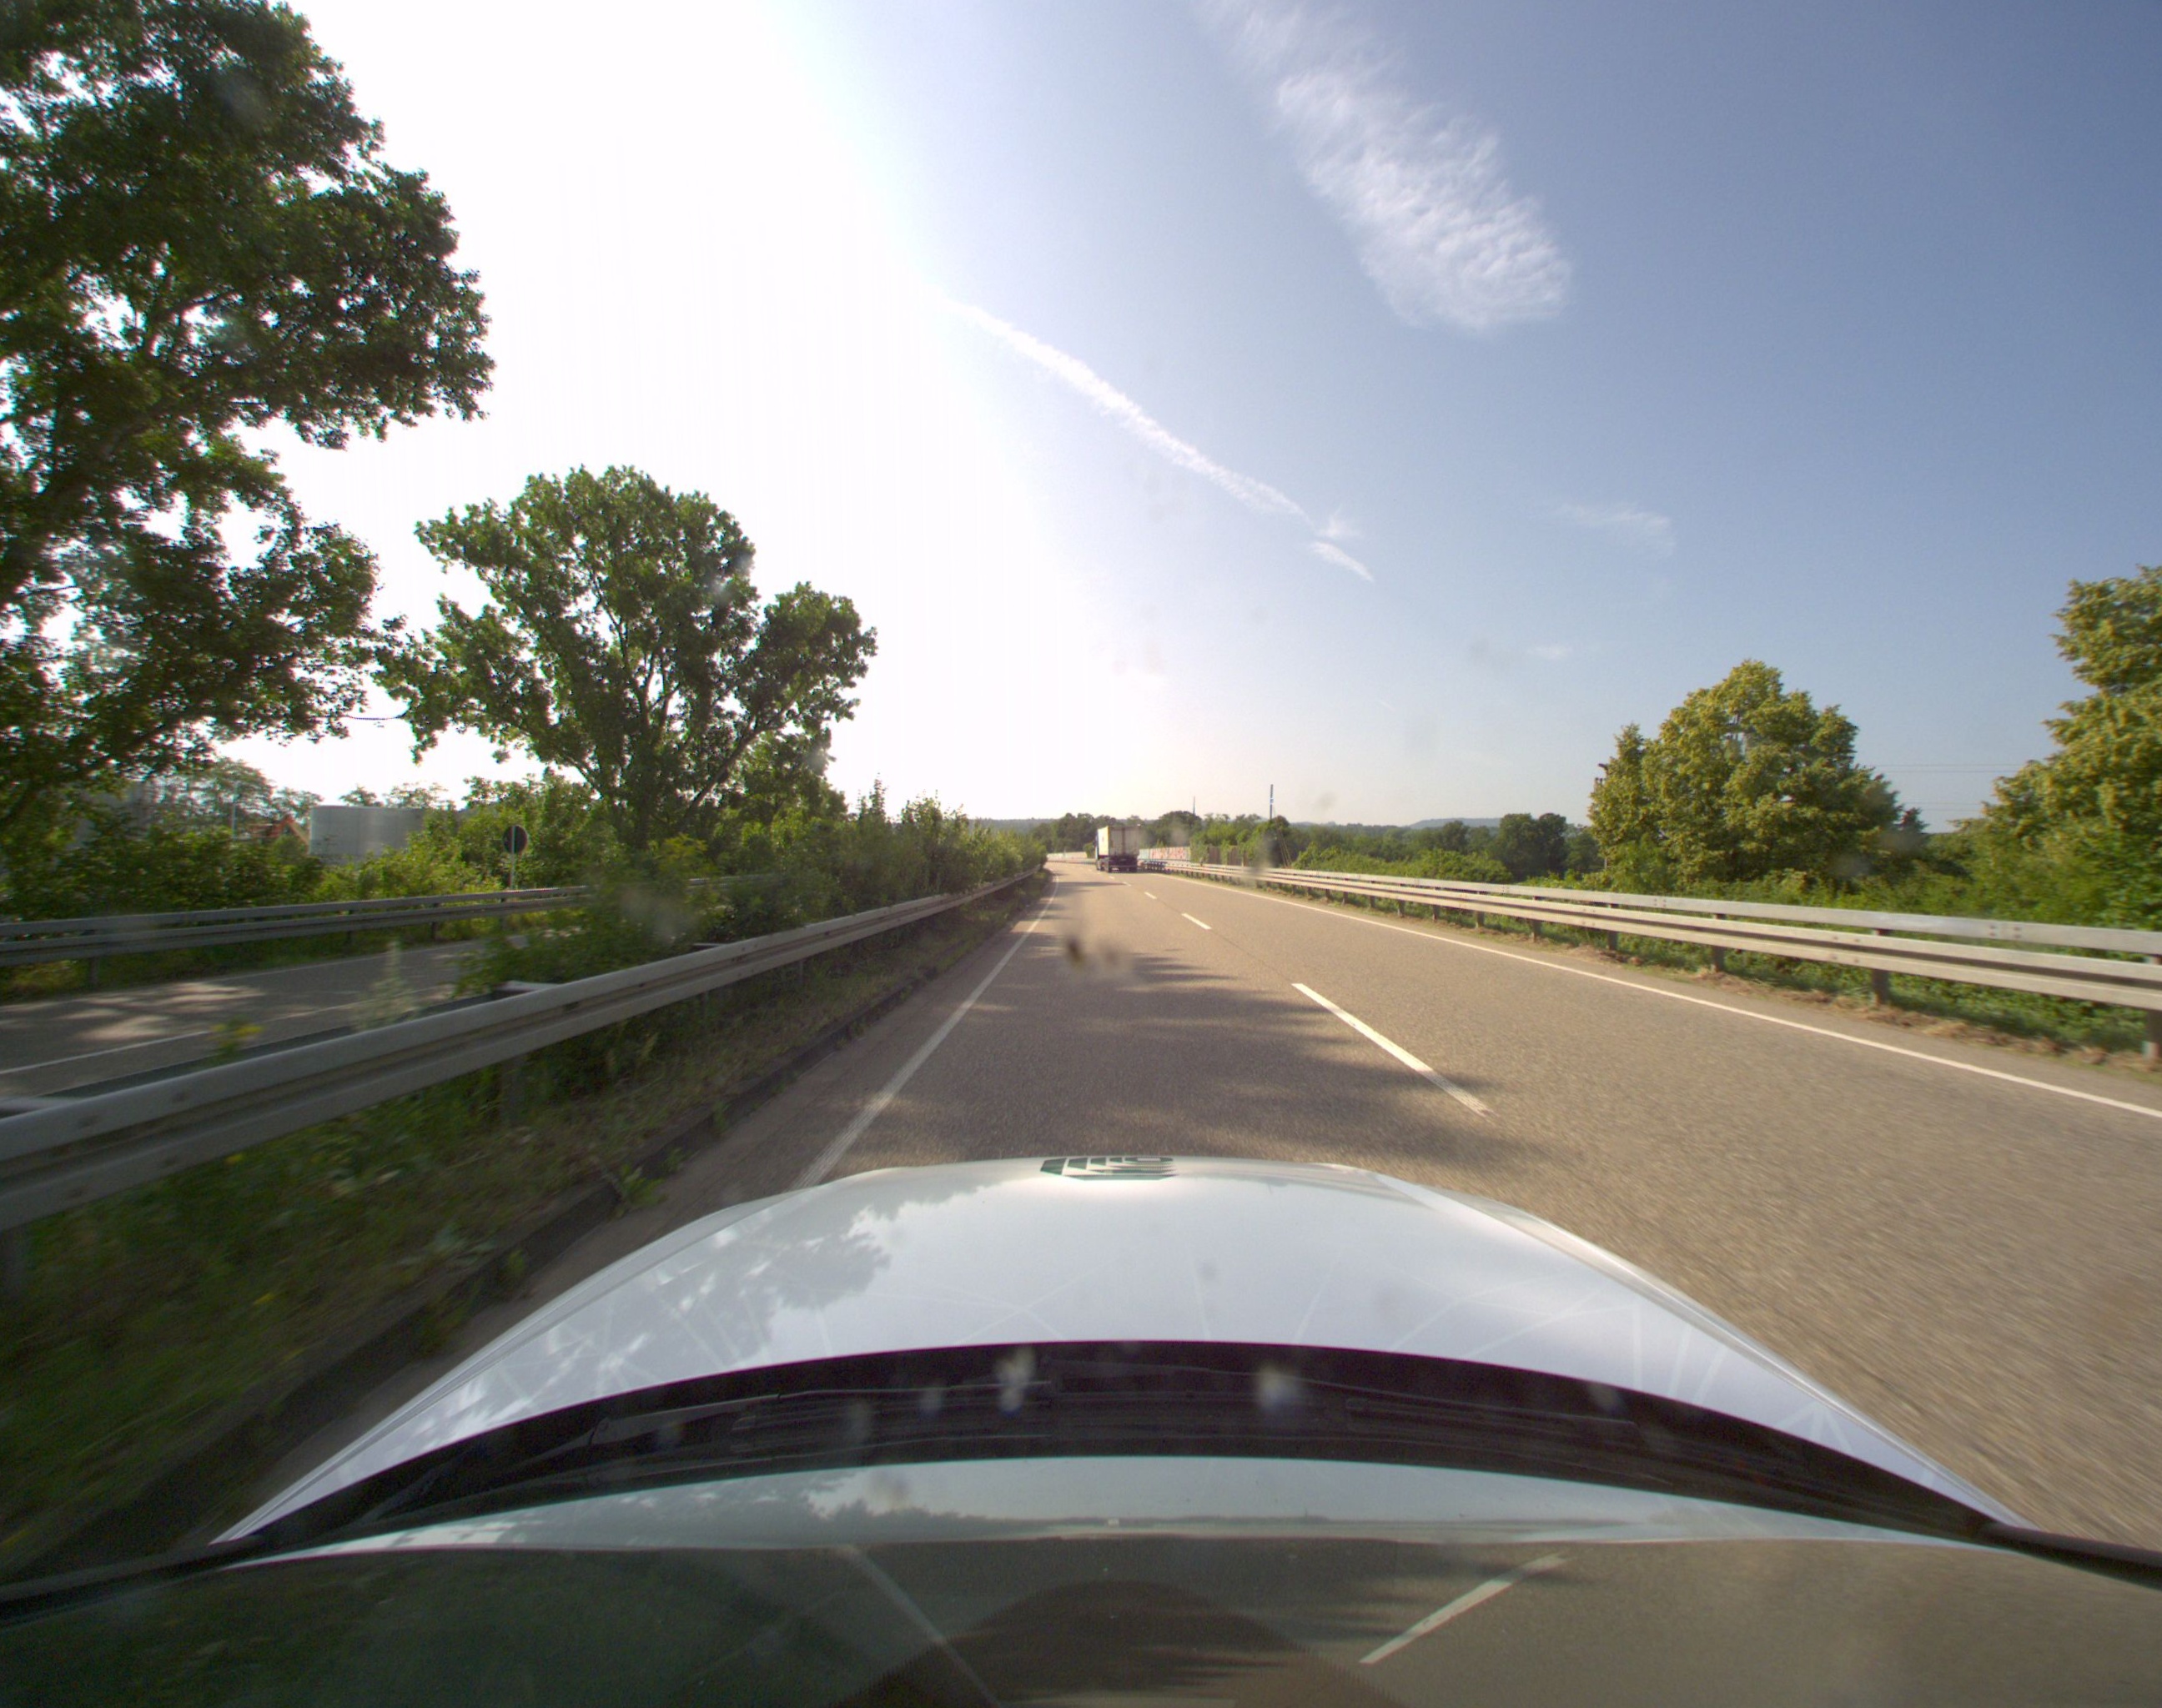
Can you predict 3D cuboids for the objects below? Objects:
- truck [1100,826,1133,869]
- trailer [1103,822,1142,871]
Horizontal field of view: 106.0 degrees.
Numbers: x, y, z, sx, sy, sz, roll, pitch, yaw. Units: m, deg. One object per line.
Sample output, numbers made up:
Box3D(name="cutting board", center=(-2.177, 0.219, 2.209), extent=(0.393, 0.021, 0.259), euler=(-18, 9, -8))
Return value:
Box3D(name="truck", center=(3.271, -0.578, 75.791), extent=(2.652, 3.896, 5.643), euler=(0, 0, -2))
Box3D(name="trailer", center=(3.411, -0.576, 69.851), extent=(2.672, 3.907, 9.667), euler=(0, 0, -1))
